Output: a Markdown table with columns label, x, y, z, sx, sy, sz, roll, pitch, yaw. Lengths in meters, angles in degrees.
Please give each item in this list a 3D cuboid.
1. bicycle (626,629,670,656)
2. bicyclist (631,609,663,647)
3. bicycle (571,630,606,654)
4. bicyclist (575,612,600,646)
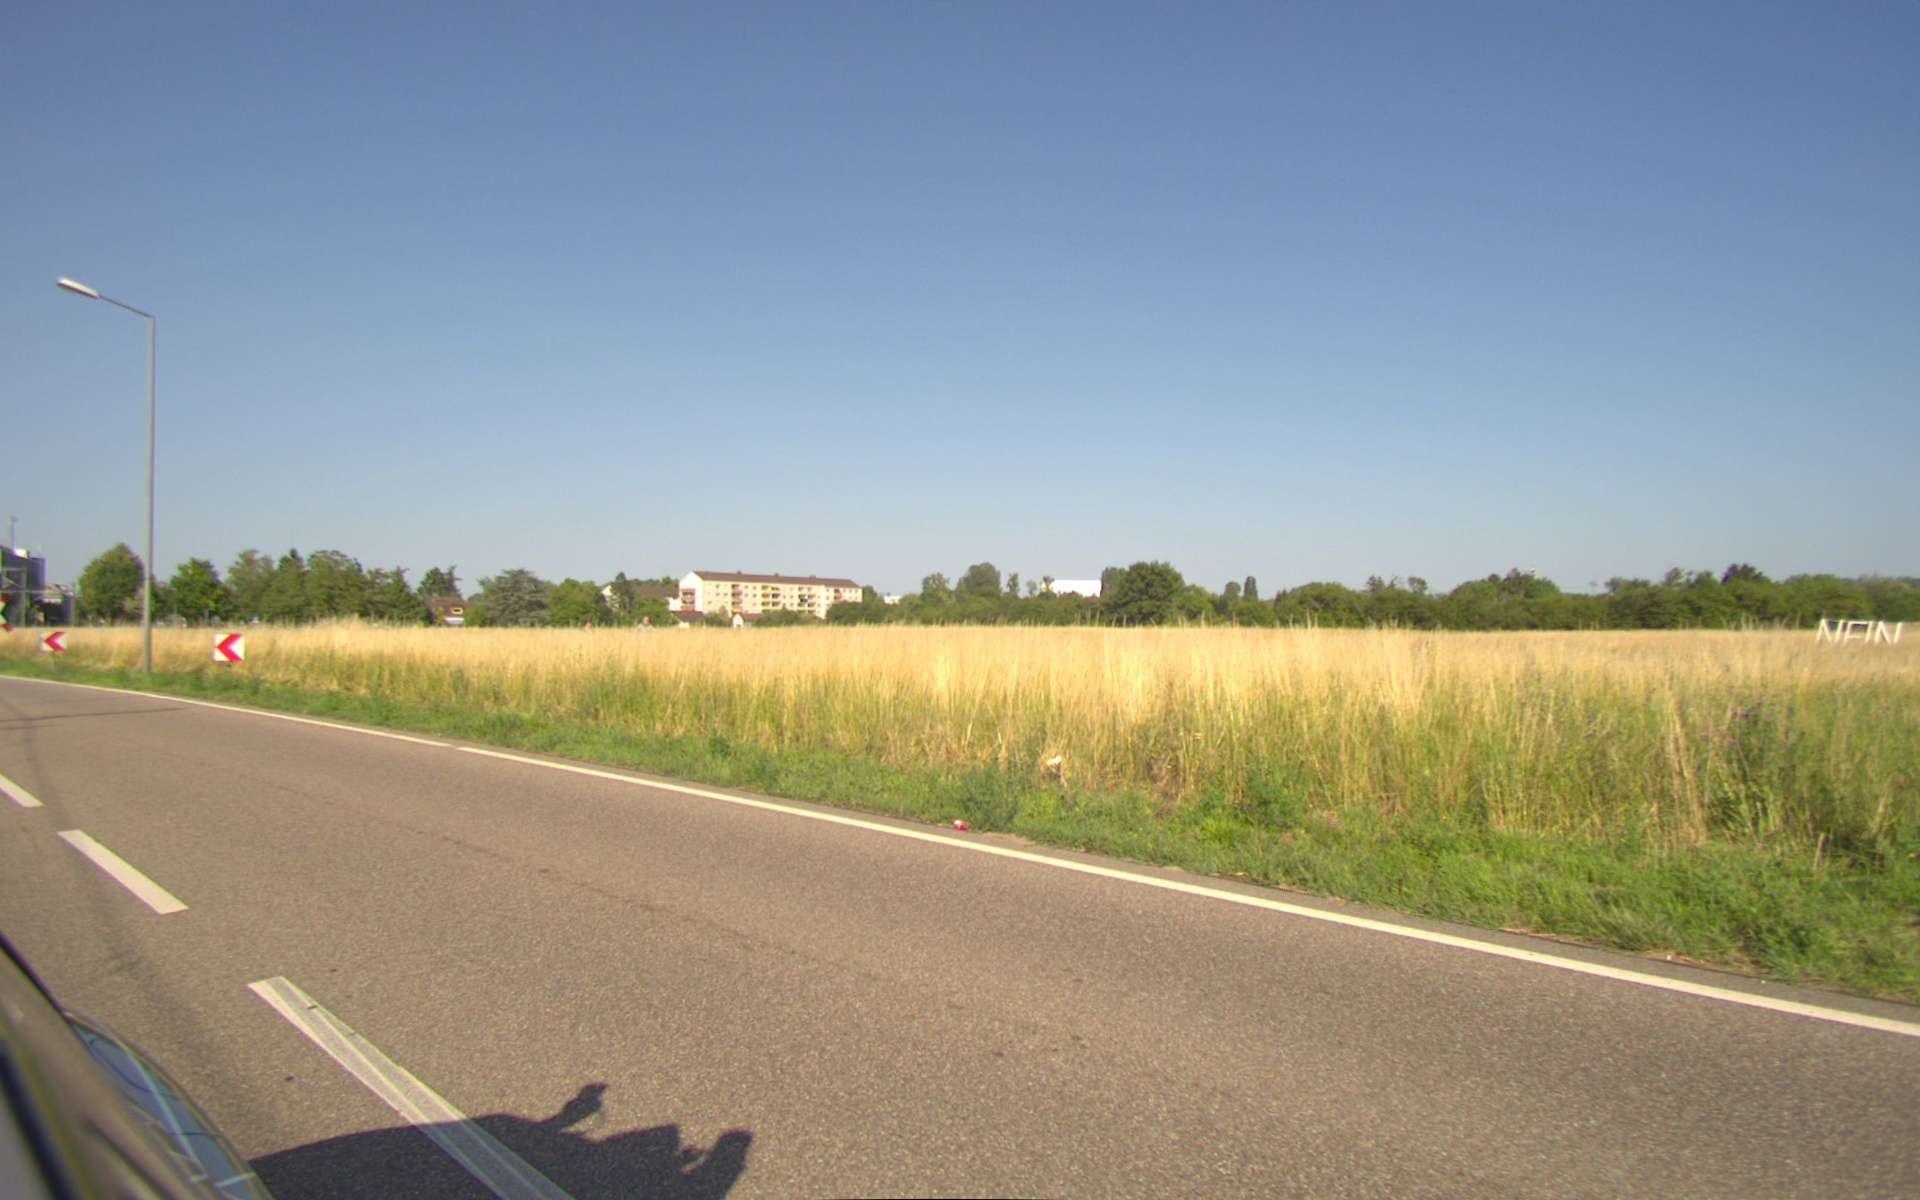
| label | x | y | z | sx | sy | sz | roll | pitch | yaw |
| --- | --- | --- | --- | --- | --- | --- | --- | --- | --- |
| bicycle | -10.366 | 1.397 | 33.543 | 0.741 | 0.845 | 1.738 | 0 | -1 | -41 |
| bicyclist | -10.387 | 0.926 | 33.567 | 0.736 | 1.214 | 0.790 | 0 | -2 | -42 |
| bicycle | -13.469 | 1.503 | 36.653 | 0.605 | 0.845 | 1.738 | 0 | -1 | -41 |
| bicyclist | -13.529 | 1.061 | 36.715 | 0.595 | 1.214 | 0.790 | 0 | -2 | -42 |
